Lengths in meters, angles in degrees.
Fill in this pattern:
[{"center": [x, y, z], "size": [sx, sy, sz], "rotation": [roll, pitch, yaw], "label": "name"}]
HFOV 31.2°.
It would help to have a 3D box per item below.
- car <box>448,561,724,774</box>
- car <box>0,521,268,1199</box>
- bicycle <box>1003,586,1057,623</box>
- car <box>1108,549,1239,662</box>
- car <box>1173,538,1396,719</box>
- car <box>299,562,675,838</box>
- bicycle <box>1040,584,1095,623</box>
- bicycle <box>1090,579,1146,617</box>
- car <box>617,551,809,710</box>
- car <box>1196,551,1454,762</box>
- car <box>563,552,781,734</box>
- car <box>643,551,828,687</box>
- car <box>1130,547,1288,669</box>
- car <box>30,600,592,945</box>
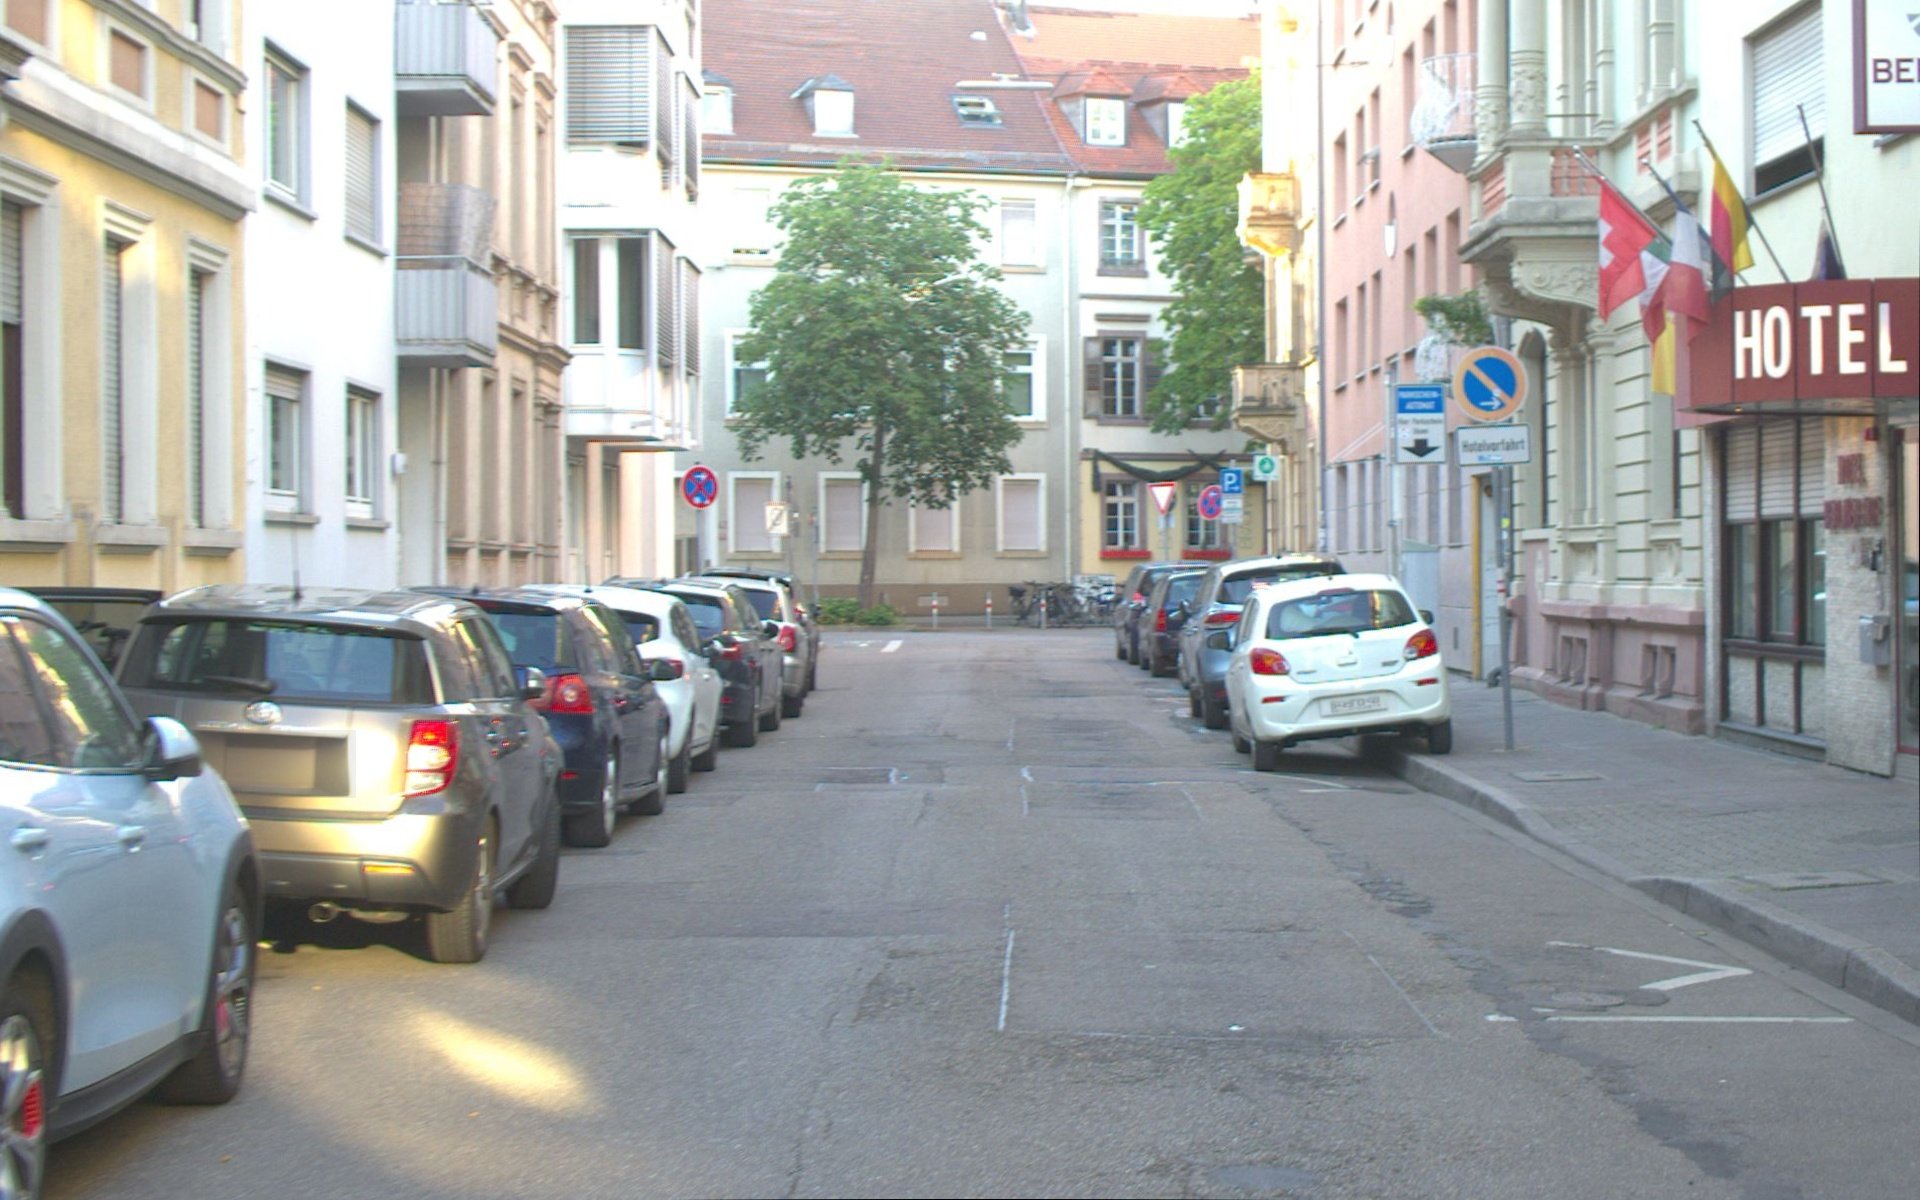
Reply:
[{"center": [-2.779, 0.458, 26.218], "size": [1.630, 1.467, 3.754], "rotation": [0, 1, 1], "label": "car"}, {"center": [-2.998, 0.599, 8.921], "size": [1.763, 1.558, 4.367], "rotation": [-1, 2, -4], "label": "car"}, {"center": [1.788, 0.106, 87.763], "size": [0.518, 0.945, 1.725], "rotation": [0, 0, -32], "label": "bicycle"}, {"center": [3.439, 0.062, 55.991], "size": [1.993, 1.755, 4.000], "rotation": [-1, 1, 2], "label": "car"}, {"center": [3.250, 0.252, 35.128], "size": [1.993, 1.726, 4.059], "rotation": [0, 1, 2], "label": "car"}, {"center": [-2.811, 0.543, 21.192], "size": [1.728, 1.504, 3.830], "rotation": [0, 1, 1], "label": "car"}, {"center": [2.702, 0.085, 86.299], "size": [0.518, 0.891, 1.725], "rotation": [-2, 3, -32], "label": "bicycle"}, {"center": [3.979, -0.047, 86.870], "size": [0.518, 0.945, 1.725], "rotation": [-1, 1, -32], "label": "bicycle"}, {"center": [-2.695, 0.294, 38.351], "size": [1.993, 1.661, 4.410], "rotation": [0, 1, -2], "label": "car"}, {"center": [2.972, 0.413, 28.667], "size": [1.662, 1.454, 3.759], "rotation": [-6, 1, 1], "label": "car"}, {"center": [-2.633, 0.348, 32.264], "size": [1.614, 1.565, 4.303], "rotation": [0, 1, 1], "label": "car"}, {"center": [-2.863, 0.212, 44.581], "size": [1.993, 1.657, 3.977], "rotation": [-1, 1, 2], "label": "car"}, {"center": [3.628, 0.091, 50.700], "size": [1.993, 1.703, 4.000], "rotation": [-1, 1, 0], "label": "car"}, {"center": [-2.729, 0.668, 15.354], "size": [1.683, 1.327, 4.131], "rotation": [0, 0, 1], "label": "car"}]
